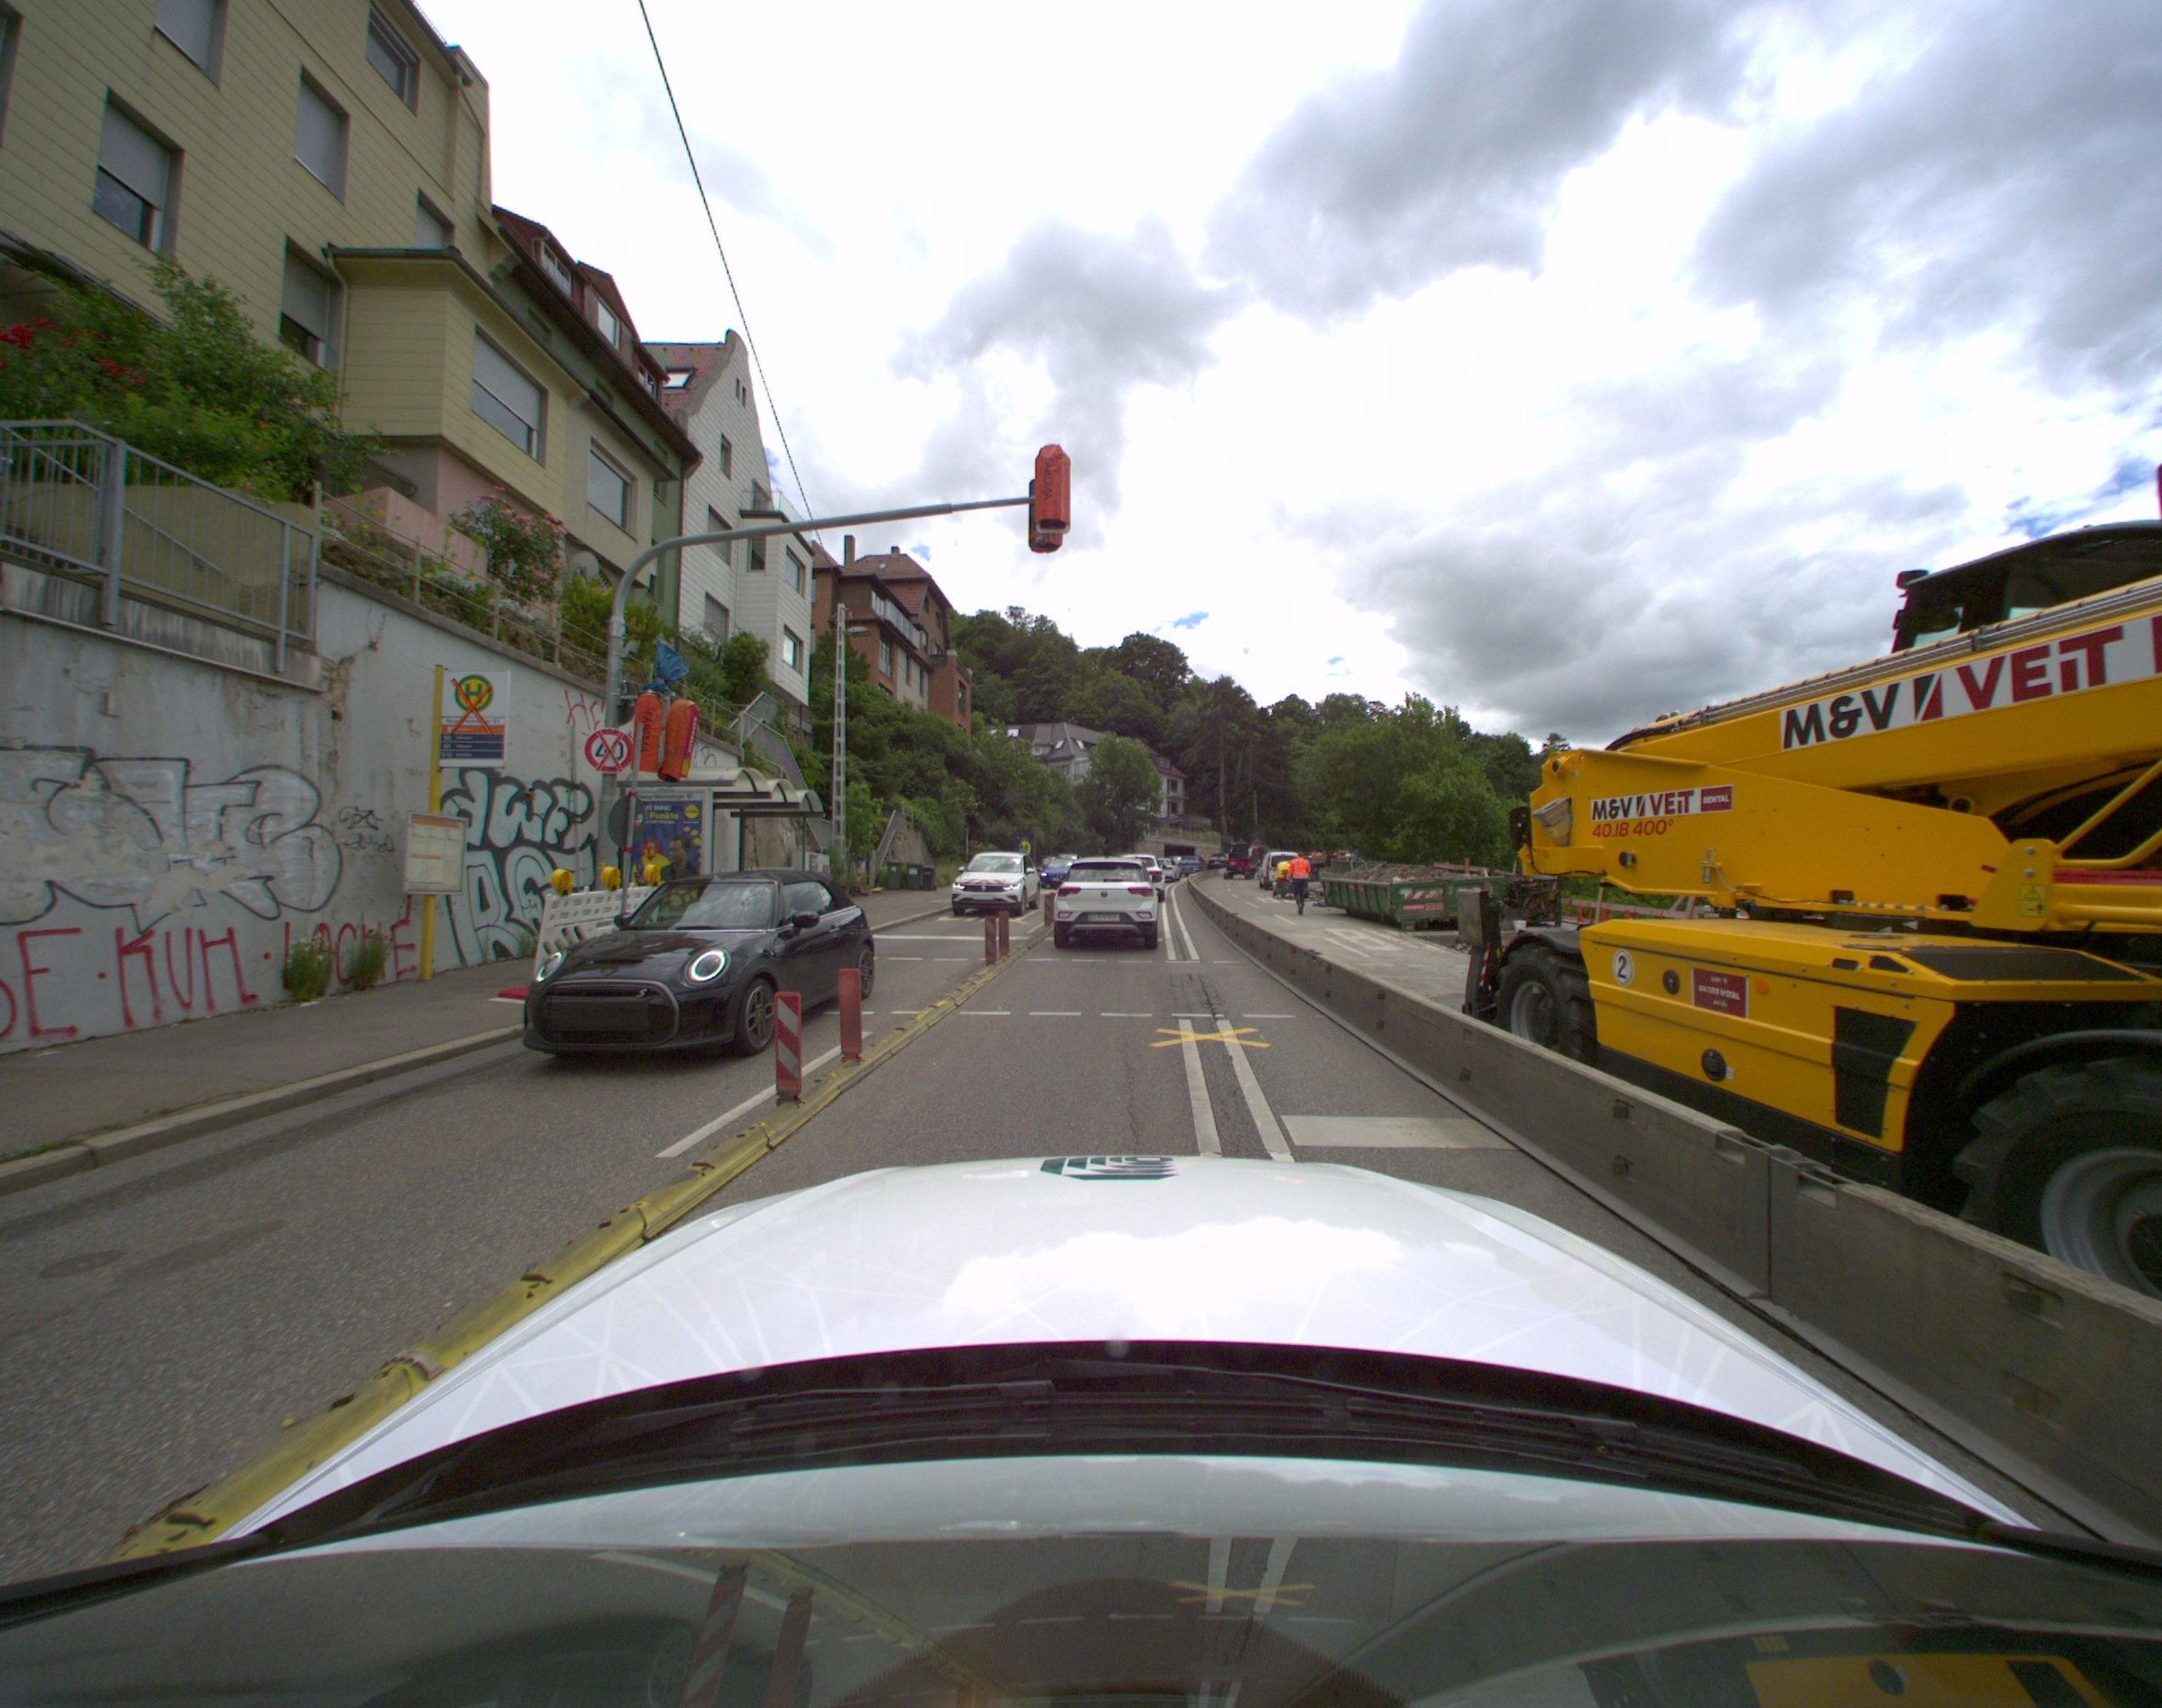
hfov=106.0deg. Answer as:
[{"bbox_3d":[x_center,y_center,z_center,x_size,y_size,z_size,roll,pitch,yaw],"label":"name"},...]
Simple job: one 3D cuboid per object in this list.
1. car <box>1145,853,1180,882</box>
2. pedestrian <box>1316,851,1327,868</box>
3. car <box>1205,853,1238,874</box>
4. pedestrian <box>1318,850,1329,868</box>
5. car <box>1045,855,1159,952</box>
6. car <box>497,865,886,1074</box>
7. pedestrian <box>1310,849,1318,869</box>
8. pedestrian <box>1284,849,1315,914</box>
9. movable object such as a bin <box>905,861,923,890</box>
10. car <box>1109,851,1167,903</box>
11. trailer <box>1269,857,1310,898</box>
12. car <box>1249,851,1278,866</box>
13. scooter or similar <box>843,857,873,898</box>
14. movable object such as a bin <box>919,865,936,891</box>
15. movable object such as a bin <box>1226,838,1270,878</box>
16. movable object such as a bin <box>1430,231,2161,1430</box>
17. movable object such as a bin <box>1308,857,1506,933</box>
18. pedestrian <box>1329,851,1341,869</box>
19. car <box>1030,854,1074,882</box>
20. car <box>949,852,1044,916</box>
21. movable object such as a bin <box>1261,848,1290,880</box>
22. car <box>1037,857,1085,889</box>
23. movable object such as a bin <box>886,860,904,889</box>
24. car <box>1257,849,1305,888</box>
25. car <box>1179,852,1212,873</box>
[{"bbox_3d":[5.022,0.812,49.770,1.798,1.663,4.011,-2,0,10],"label":"car"},{"bbox_3d":[24.333,0.586,82.318,0.868,1.731,0.883,-1,0,26],"label":"pedestrian"},{"bbox_3d":[12.469,0.823,71.941,1.793,1.663,4.024,-2,0,26],"label":"car"},{"bbox_3d":[24.745,0.520,83.182,0.868,1.822,0.883,-1,0,26],"label":"pedestrian"},{"bbox_3d":[0.525,0.786,15.046,1.801,1.531,4.006,0,0,5],"label":"car"},{"bbox_3d":[-3.244,0.860,7.640,1.664,1.430,3.592,-2,0,5],"label":"car"},{"bbox_3d":[23.318,0.507,81.573,0.685,1.906,0.829,-1,0,14],"label":"pedestrian"},{"bbox_3d":[5.927,0.729,22.129,0.642,1.701,0.851,1,0,4],"label":"pedestrian"},{"bbox_3d":[-6.215,0.809,30.327,0.466,1.053,0.625,1,0,3],"label":"movable object such as a bin"},{"bbox_3d":[2.099,0.759,28.917,1.800,1.663,4.008,-2,0,7],"label":"car"},{"bbox_3d":[8.028,0.864,31.518,1.280,1.475,3.644,0,0,10],"label":"trailer"},{"bbox_3d":[21.216,0.474,94.679,1.792,1.663,4.026,-2,0,35],"label":"car"},{"bbox_3d":[-6.877,0.714,25.111,0.458,1.205,1.436,2,0,1],"label":"scooter or similar"},{"bbox_3d":[-5.700,0.887,30.320,0.466,0.934,0.625,1,0,3],"label":"movable object such as a bin"},{"bbox_3d":[11.547,0.265,56.105,2.193,2.663,4.970,0,0,21],"label":"movable object such as a bin"},{"bbox_3d":[4.169,-0.058,2.562,2.802,3.071,7.822,0,0,0],"label":"movable object such as a bin"},{"bbox_3d":[7.710,0.853,20.351,2.365,1.561,7.103,0,0,2],"label":"movable object such as a bin"},{"bbox_3d":[24.999,0.578,80.152,0.775,1.688,0.790,-1,0,42],"label":"pedestrian"},{"bbox_3d":[-1.660,0.780,47.927,1.783,1.510,4.011,2,0,9],"label":"car"},{"bbox_3d":[-2.192,0.742,22.263,1.833,1.599,4.268,0,0,4],"label":"car"},{"bbox_3d":[12.259,0.589,51.439,1.690,1.943,4.178,0,0,12],"label":"movable object such as a bin"},{"bbox_3d":[-0.910,0.854,38.696,1.717,1.420,3.828,-1,0,7],"label":"car"},{"bbox_3d":[-6.922,0.776,30.378,0.466,1.053,0.625,1,0,3],"label":"movable object such as a bin"},{"bbox_3d":[9.600,0.662,39.369,1.822,1.779,4.278,0,0,8],"label":"car"},{"bbox_3d":[8.737,0.652,61.927,1.780,1.510,4.019,-2,0,18],"label":"car"}]
